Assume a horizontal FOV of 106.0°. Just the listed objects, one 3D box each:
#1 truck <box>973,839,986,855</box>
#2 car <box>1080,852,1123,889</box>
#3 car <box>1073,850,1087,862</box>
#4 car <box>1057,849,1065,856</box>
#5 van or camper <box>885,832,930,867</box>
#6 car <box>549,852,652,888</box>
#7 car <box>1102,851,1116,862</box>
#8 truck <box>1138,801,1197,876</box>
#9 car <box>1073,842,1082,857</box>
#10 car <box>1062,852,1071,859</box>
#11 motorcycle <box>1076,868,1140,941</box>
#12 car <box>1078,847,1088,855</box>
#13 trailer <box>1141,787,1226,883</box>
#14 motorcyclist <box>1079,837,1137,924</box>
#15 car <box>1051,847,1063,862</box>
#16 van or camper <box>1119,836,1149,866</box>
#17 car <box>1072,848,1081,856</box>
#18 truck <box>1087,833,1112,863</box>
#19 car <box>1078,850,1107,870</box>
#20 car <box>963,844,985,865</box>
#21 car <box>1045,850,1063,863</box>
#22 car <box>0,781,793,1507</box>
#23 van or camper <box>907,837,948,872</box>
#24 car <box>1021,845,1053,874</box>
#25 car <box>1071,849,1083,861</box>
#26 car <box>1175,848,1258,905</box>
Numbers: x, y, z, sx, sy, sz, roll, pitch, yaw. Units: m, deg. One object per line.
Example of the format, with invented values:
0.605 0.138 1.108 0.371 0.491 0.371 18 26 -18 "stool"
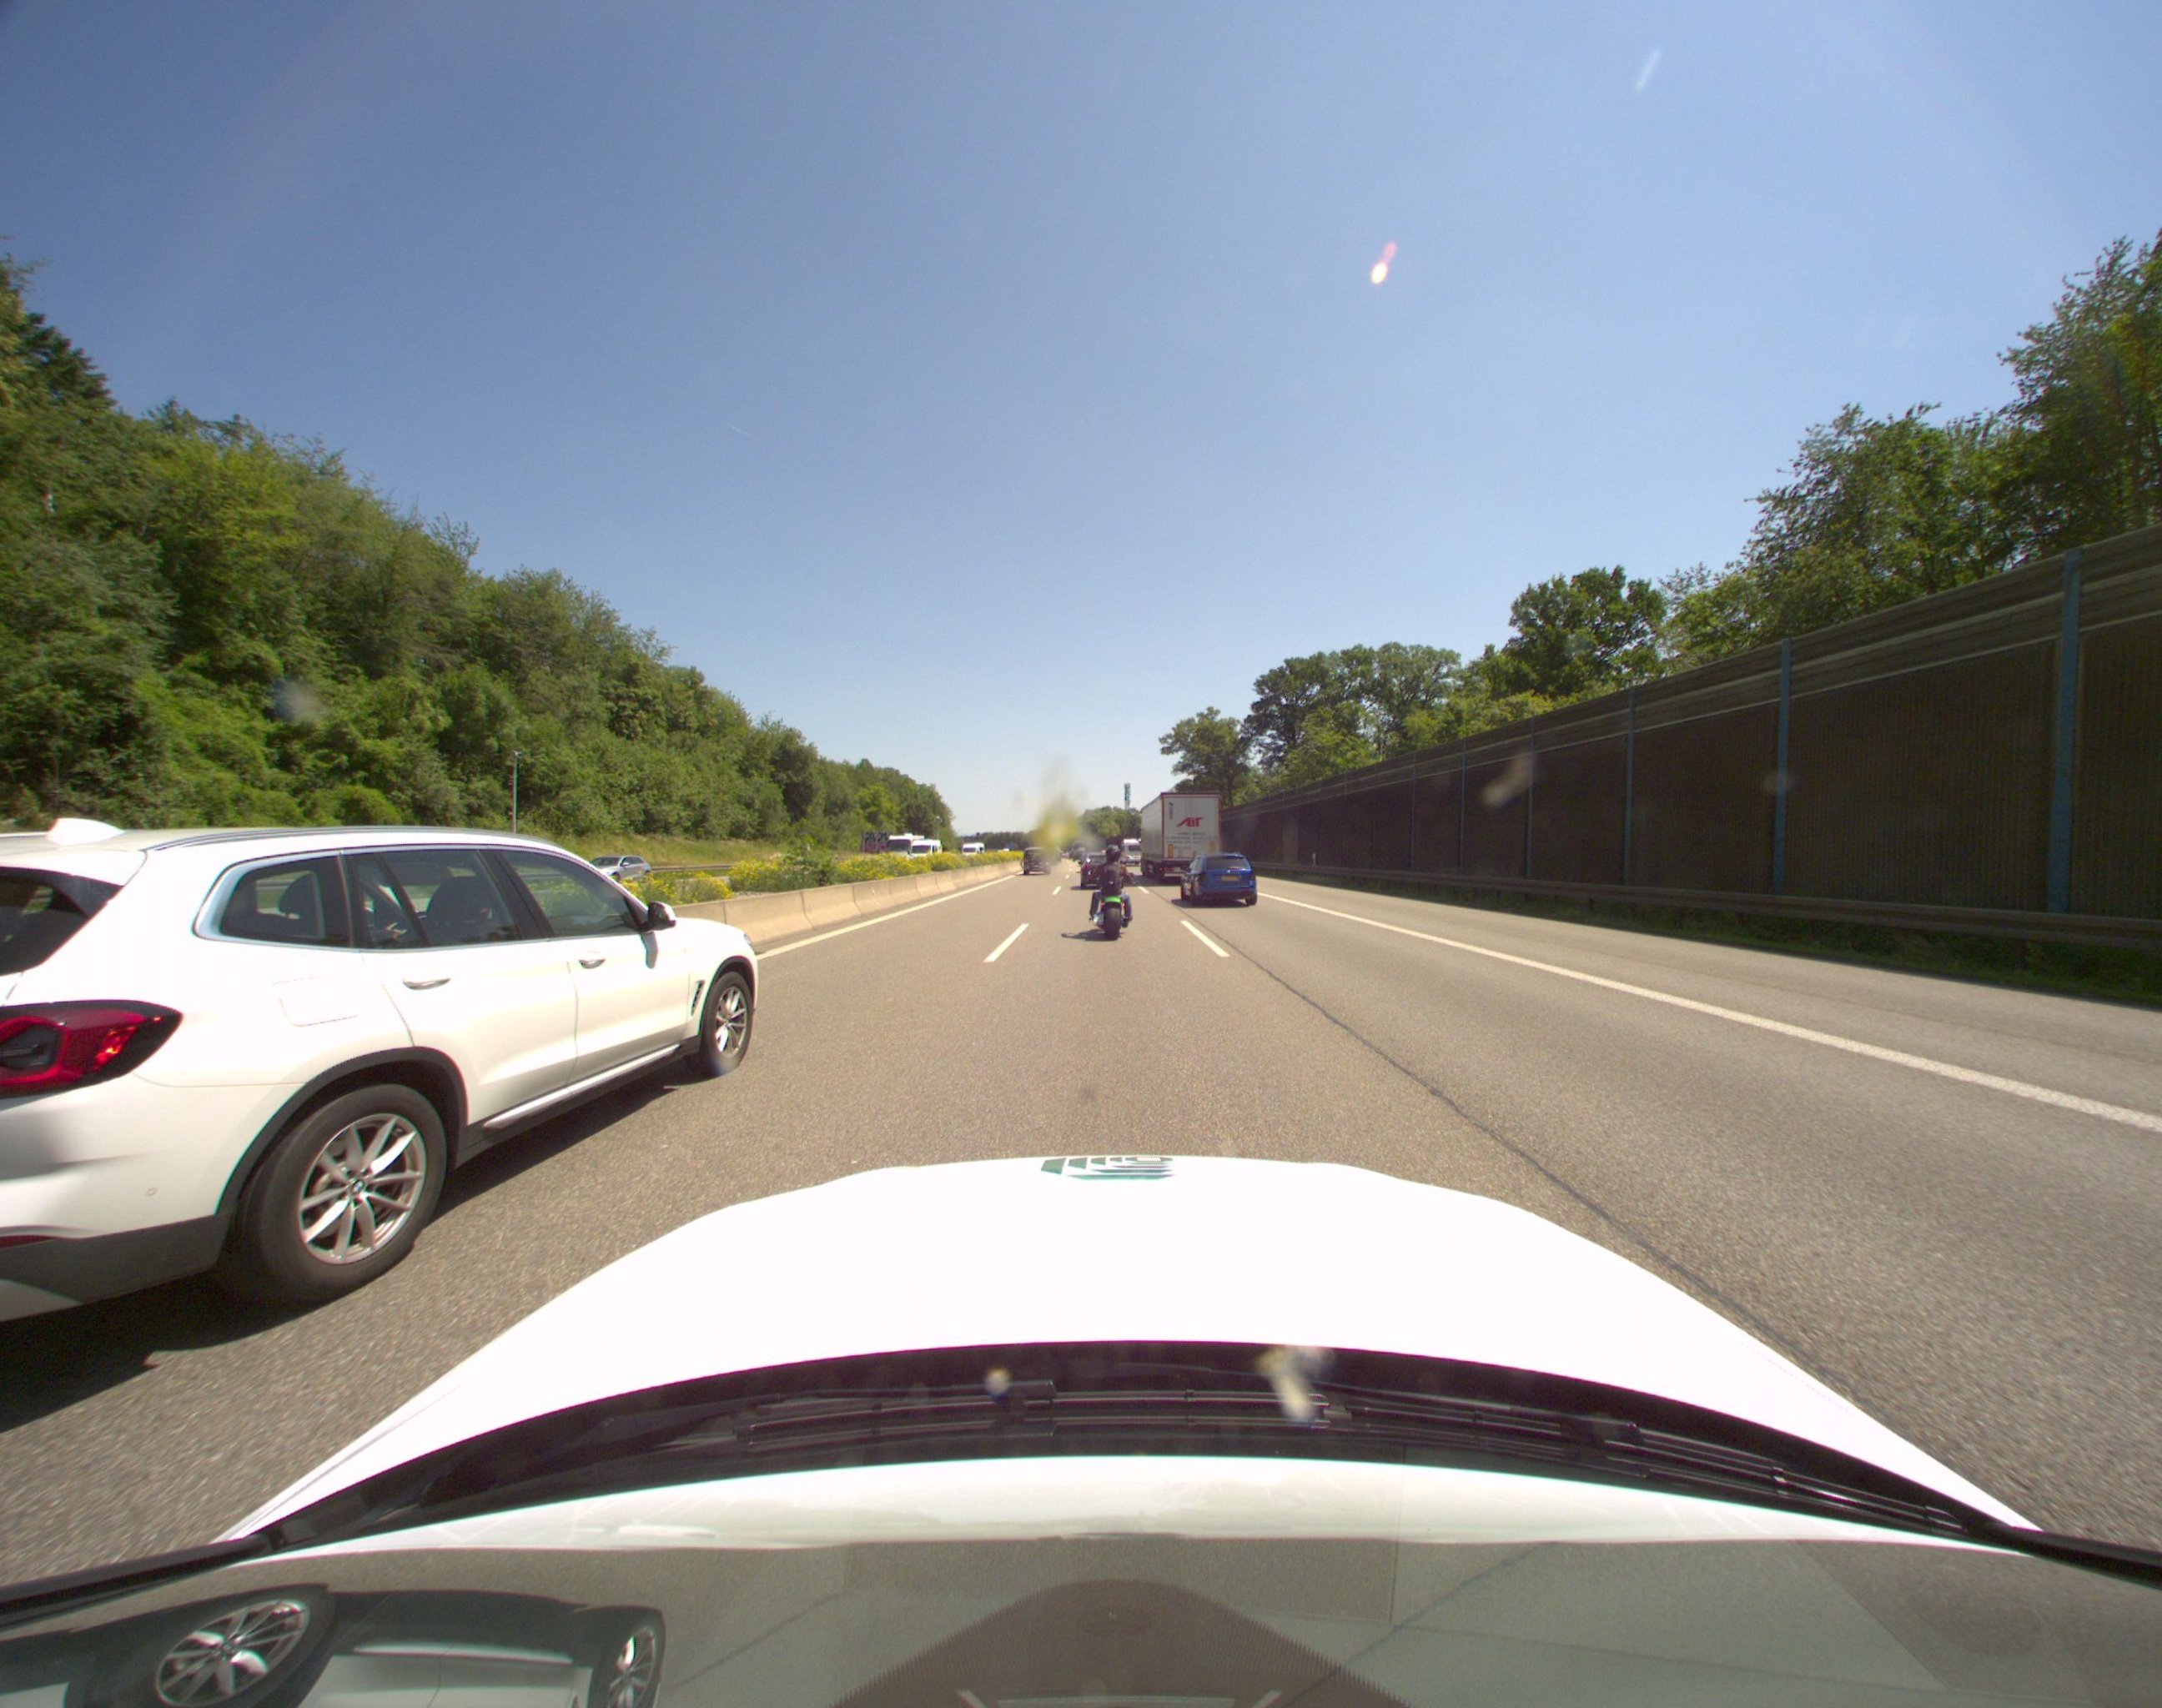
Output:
-27.355 -1.851 220.273 2.956 4.107 6.083 -1 -1 -2 "truck"
0.821 0.677 34.284 1.657 1.453 3.868 -1 -1 0 "car"
-0.203 0.345 119.205 1.987 1.640 3.998 -1 -1 -1 "car"
-4.911 -0.360 203.205 1.826 1.496 3.744 -1 -1 1 "car"
-17.513 -0.328 83.002 2.531 3.317 9.002 -1 -1 1 "van or camper"
-21.105 0.667 36.010 1.986 1.432 4.192 -1 0 1 "car"
4.329 0.376 126.886 1.987 1.574 3.998 -1 -1 -1 "car"
5.036 -0.898 48.527 2.876 4.146 5.986 -1 0 1 "truck"
-1.036 -1.299 215.320 2.128 3.861 8.135 -1 0 -2 "car"
-3.170 0.352 174.916 1.826 1.496 3.743 -1 -1 0 "car"
0.544 0.860 14.895 0.960 1.148 2.816 -1 0 6 "motorcycle"
0.481 -0.684 195.763 2.102 1.876 3.998 -1 -1 -1 "car"
4.895 -0.832 41.833 2.875 4.038 13.798 -1 0 1 "trailer"
0.525 0.463 14.812 0.895 1.475 1.875 -1 -1 6 "motorcyclist"
-3.439 0.126 116.924 1.786 2.014 3.639 -1 -1 -2 "car"
5.192 -0.206 80.317 2.675 2.813 6.805 -1 -1 2 "van or camper"
-1.143 -0.567 201.390 2.102 1.876 3.997 -1 -1 -2 "car"
3.289 -0.987 144.703 3.794 4.960 8.941 -1 -1 -3 "truck"
0.867 0.444 59.725 1.985 1.430 3.849 -1 -1 2 "car"
-14.495 0.055 110.471 2.193 2.741 5.746 -1 0 0 "car"
-3.124 0.287 94.454 1.988 1.387 3.997 -1 -1 -2 "car"
-3.404 0.690 4.314 1.857 1.694 4.957 -1 0 1 "car"
-13.647 0.016 72.846 2.250 2.899 6.558 -1 0 1 "van or camper"
-2.966 0.398 55.479 1.893 1.874 4.412 -1 -1 0 "car"
-0.758 0.231 148.772 1.907 2.014 3.687 -1 -1 -3 "car"
3.845 0.627 23.795 1.645 1.483 4.480 -1 -1 0 "car"
